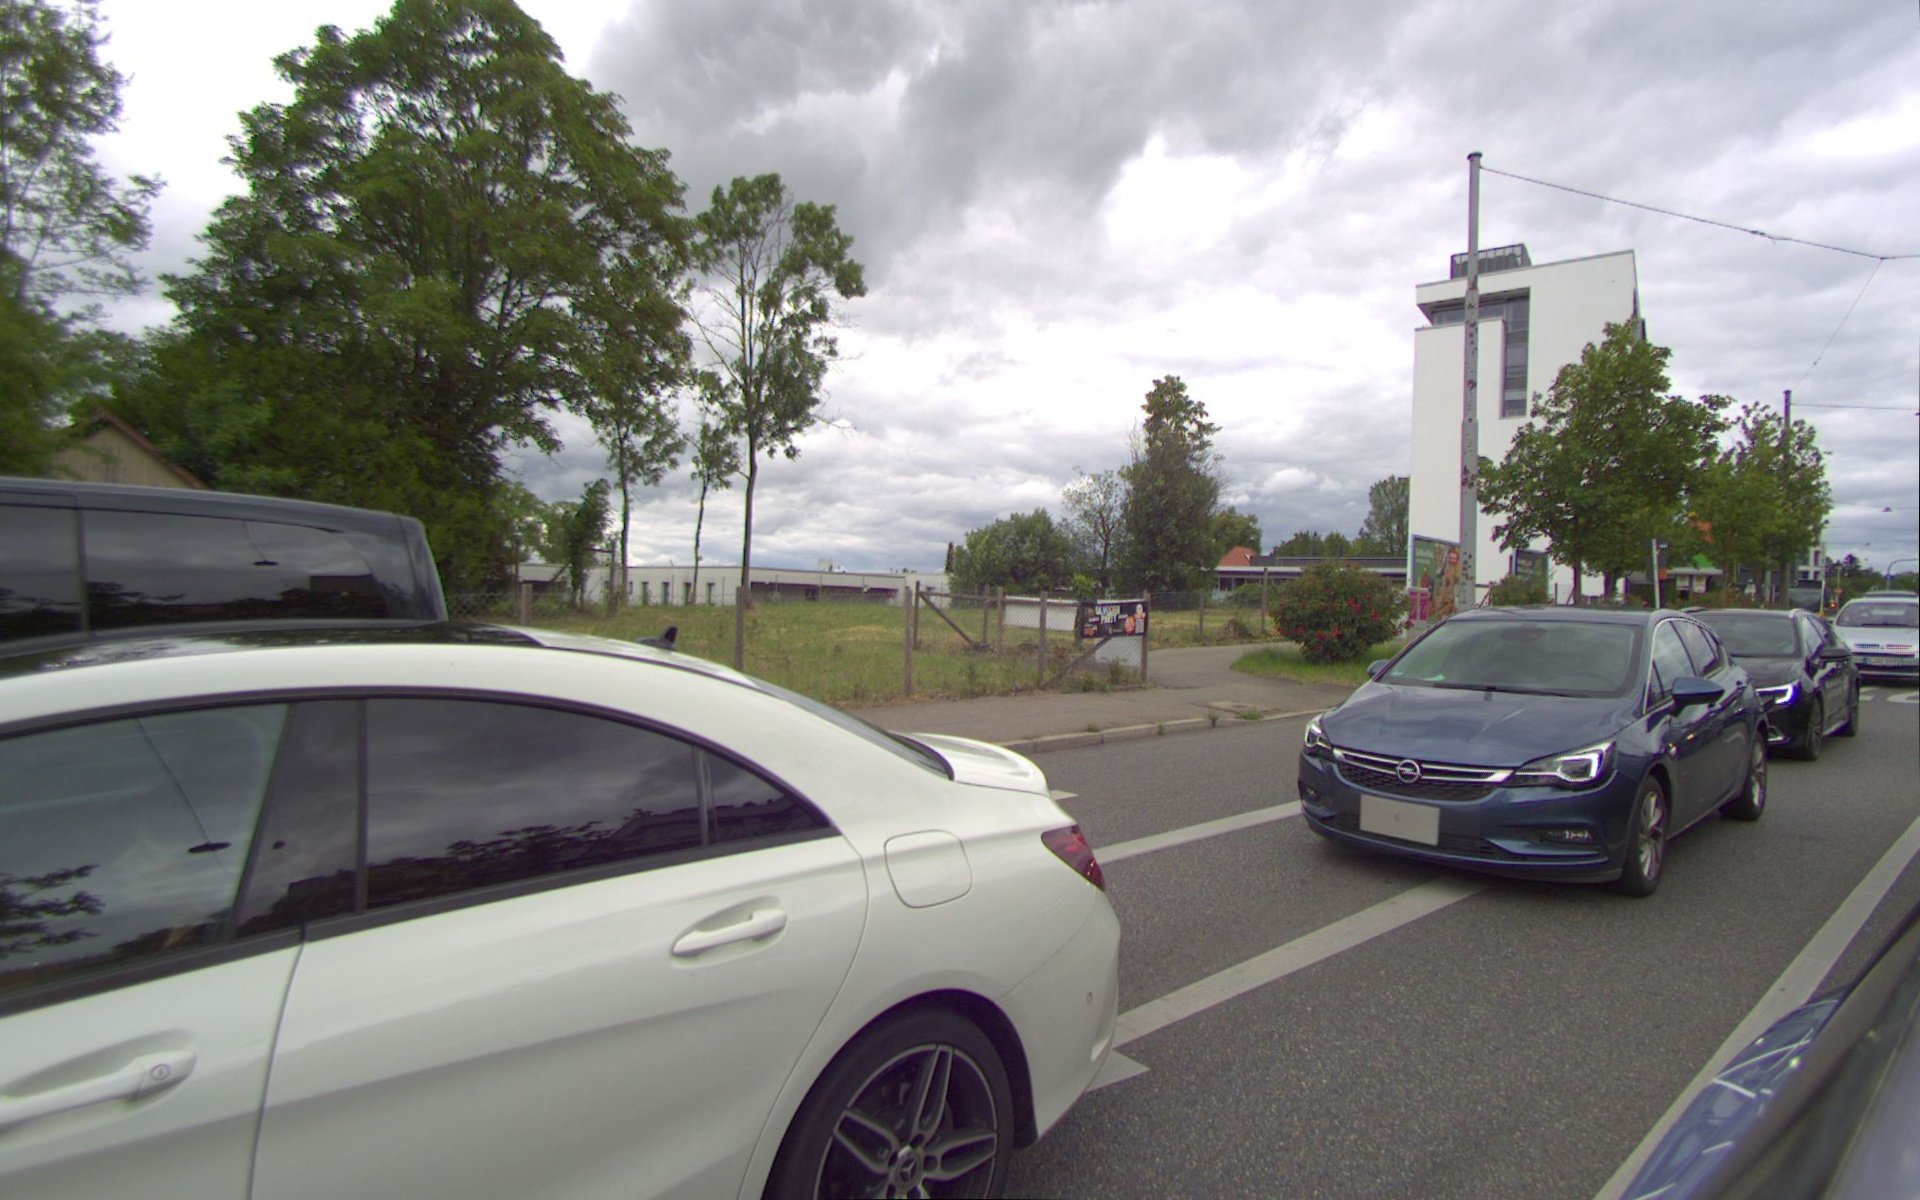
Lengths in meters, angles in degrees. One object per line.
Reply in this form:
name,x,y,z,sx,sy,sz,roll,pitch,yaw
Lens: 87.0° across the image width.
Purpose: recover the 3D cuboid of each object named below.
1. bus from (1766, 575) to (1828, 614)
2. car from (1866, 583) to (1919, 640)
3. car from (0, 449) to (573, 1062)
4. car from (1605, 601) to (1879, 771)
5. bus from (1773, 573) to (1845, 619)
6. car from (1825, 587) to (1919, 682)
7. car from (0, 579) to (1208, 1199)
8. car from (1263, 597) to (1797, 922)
bus,61.423,-0.424,74.470,2.952,2.664,12.751,0,1,37
car,33.260,0.396,35.579,1.847,1.910,4.069,-1,-1,45
car,-3.985,0.479,3.446,4.627,1.863,1.952,0,-1,-41
car,8.482,0.764,10.859,3.854,1.475,1.663,0,0,-42
bus,53.956,-0.292,64.570,2.952,2.664,11.986,0,1,37
car,17.814,0.592,19.025,3.717,1.637,1.849,0,-1,-41
car,-1.536,0.701,1.811,4.300,1.451,1.652,0,1,-41
car,3.812,0.698,6.478,3.931,1.428,1.825,0,0,-42
